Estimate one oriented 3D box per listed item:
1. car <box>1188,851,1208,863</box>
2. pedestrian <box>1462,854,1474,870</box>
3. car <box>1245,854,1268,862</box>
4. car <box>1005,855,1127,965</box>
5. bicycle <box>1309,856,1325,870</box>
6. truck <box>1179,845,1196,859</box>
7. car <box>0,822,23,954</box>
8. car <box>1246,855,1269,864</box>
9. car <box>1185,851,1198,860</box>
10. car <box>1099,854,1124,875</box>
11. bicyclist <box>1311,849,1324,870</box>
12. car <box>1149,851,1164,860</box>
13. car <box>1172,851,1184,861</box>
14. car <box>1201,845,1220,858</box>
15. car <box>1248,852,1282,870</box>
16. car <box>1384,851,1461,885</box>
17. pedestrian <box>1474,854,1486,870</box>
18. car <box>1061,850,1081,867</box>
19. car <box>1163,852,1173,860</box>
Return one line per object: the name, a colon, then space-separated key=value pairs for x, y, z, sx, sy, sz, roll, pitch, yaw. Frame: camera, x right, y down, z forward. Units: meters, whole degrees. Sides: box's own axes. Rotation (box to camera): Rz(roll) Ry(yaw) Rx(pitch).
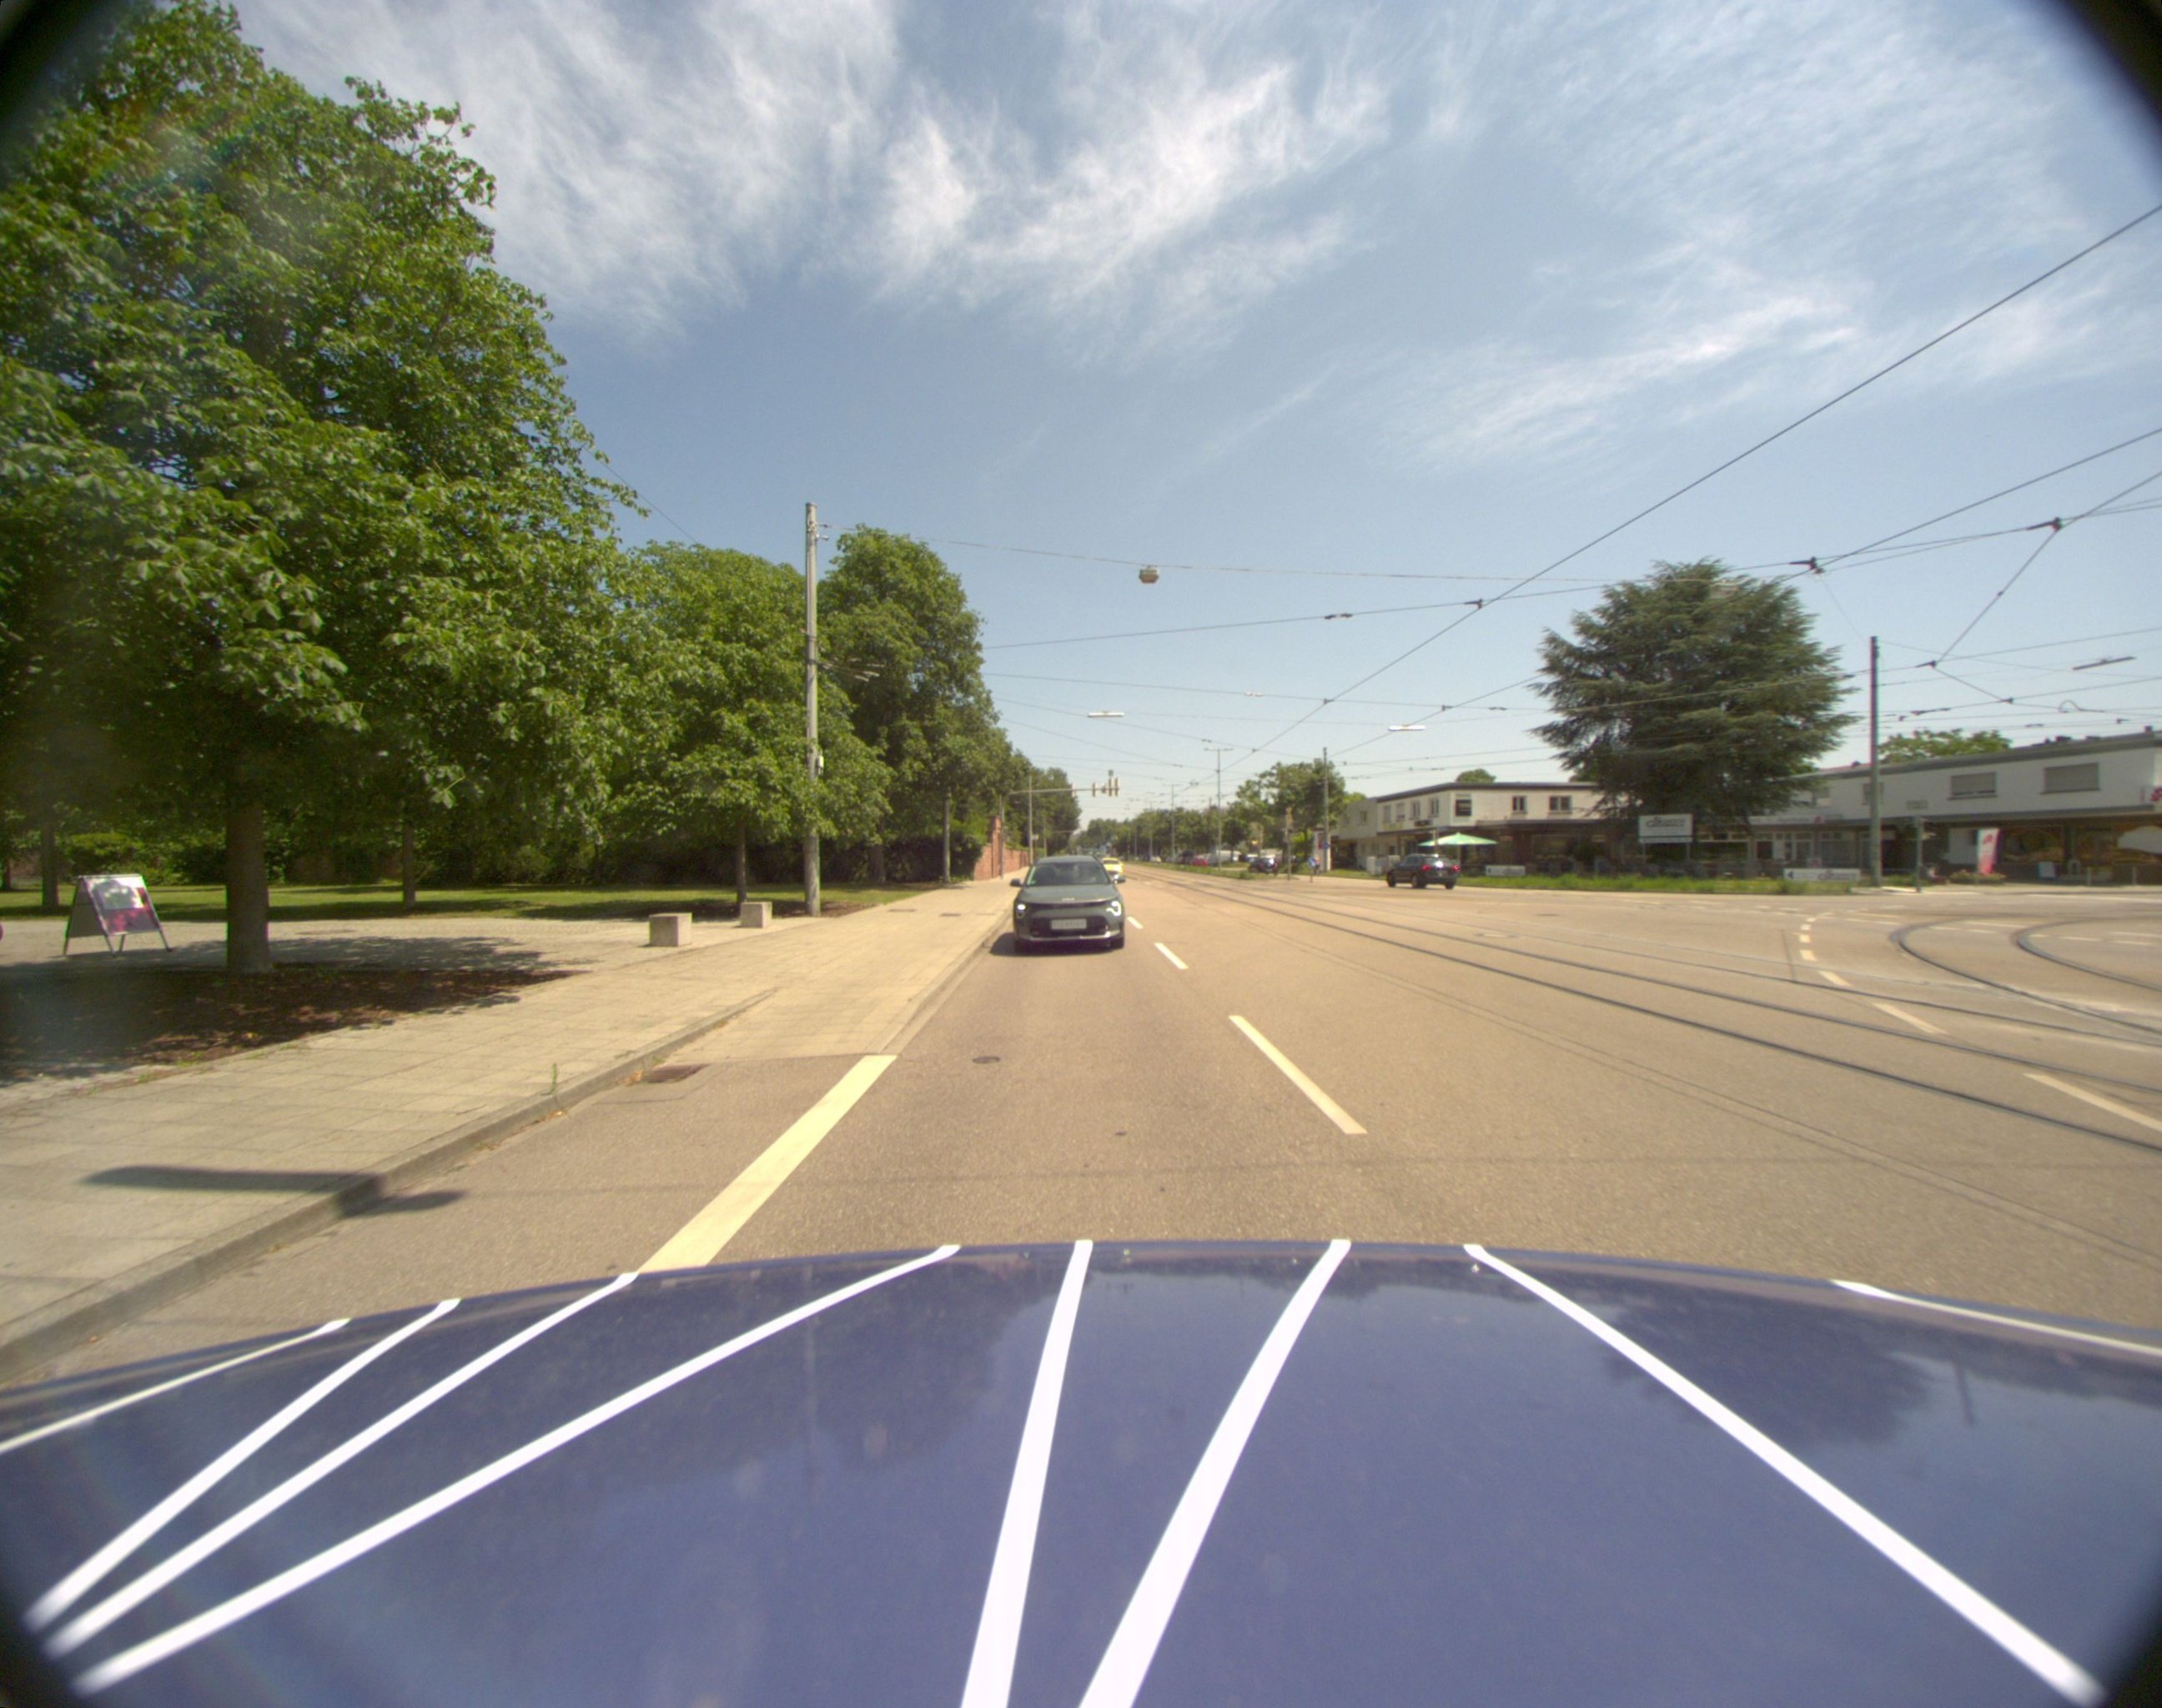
car: x=14.507 y=0.341 z=94.696 sx=1.629 sy=1.475 sz=3.827 roll=0 pitch=0 yaw=-5
pedestrian: x=28.210 y=0.564 z=55.369 sx=0.518 sy=1.121 sz=0.674 roll=0 pitch=1 yaw=0
car: x=29.290 y=0.680 z=126.793 sx=3.415 sy=1.385 sz=1.602 roll=0 pitch=0 yaw=-5
car: x=-0.224 y=0.852 z=13.641 sx=1.789 sy=1.561 sz=4.183 roll=-2 pitch=1 yaw=0
bicycle: x=19.569 y=0.787 z=62.904 sx=0.696 sy=1.142 sz=1.931 roll=0 pitch=-1 yaw=-1
truck: x=18.752 y=-0.345 z=133.754 sx=2.225 sy=2.526 sz=4.928 roll=0 pitch=0 yaw=0
car: x=-18.061 y=0.508 z=11.007 sx=3.340 sy=2.002 sz=1.464 roll=0 pitch=2 yaw=0
car: x=28.796 y=0.870 z=123.894 sx=3.415 sy=1.385 sz=1.602 roll=0 pitch=0 yaw=-5
car: x=18.548 y=0.218 z=127.965 sx=1.675 sy=1.378 sz=3.669 roll=0 pitch=0 yaw=2
car: x=2.231 y=0.759 z=56.977 sx=1.620 sy=1.413 sz=3.655 roll=2 pitch=1 yaw=-1
bicyclist: x=19.576 y=0.466 z=62.873 sx=0.696 sy=1.755 sz=1.137 roll=0 pitch=0 yaw=-1
car: x=14.221 y=0.235 z=142.670 sx=1.999 sy=1.543 sz=4.137 roll=2 pitch=0 yaw=-4
car: x=18.858 y=0.436 z=147.864 sx=1.681 sy=1.963 sz=4.509 roll=0 pitch=0 yaw=-1
car: x=18.990 y=-0.325 z=111.517 sx=1.998 sy=1.872 sz=4.661 roll=0 pitch=0 yaw=0
car: x=15.242 y=0.549 z=63.162 sx=1.714 sy=1.430 sz=3.864 roll=0 pitch=0 yaw=-2
car: x=16.354 y=0.636 z=36.671 sx=1.798 sy=1.570 sz=4.495 roll=0 pitch=0 yaw=2
pedestrian: x=28.276 y=0.577 z=53.878 sx=0.518 sy=1.121 sz=0.674 roll=0 pitch=1 yaw=0
car: x=-1.026 y=0.432 z=77.761 sx=1.999 sy=1.652 sz=4.000 roll=0 pitch=0 yaw=0
car: x=18.790 y=0.365 z=164.538 sx=1.681 sy=1.693 sz=3.823 roll=0 pitch=0 yaw=-1
